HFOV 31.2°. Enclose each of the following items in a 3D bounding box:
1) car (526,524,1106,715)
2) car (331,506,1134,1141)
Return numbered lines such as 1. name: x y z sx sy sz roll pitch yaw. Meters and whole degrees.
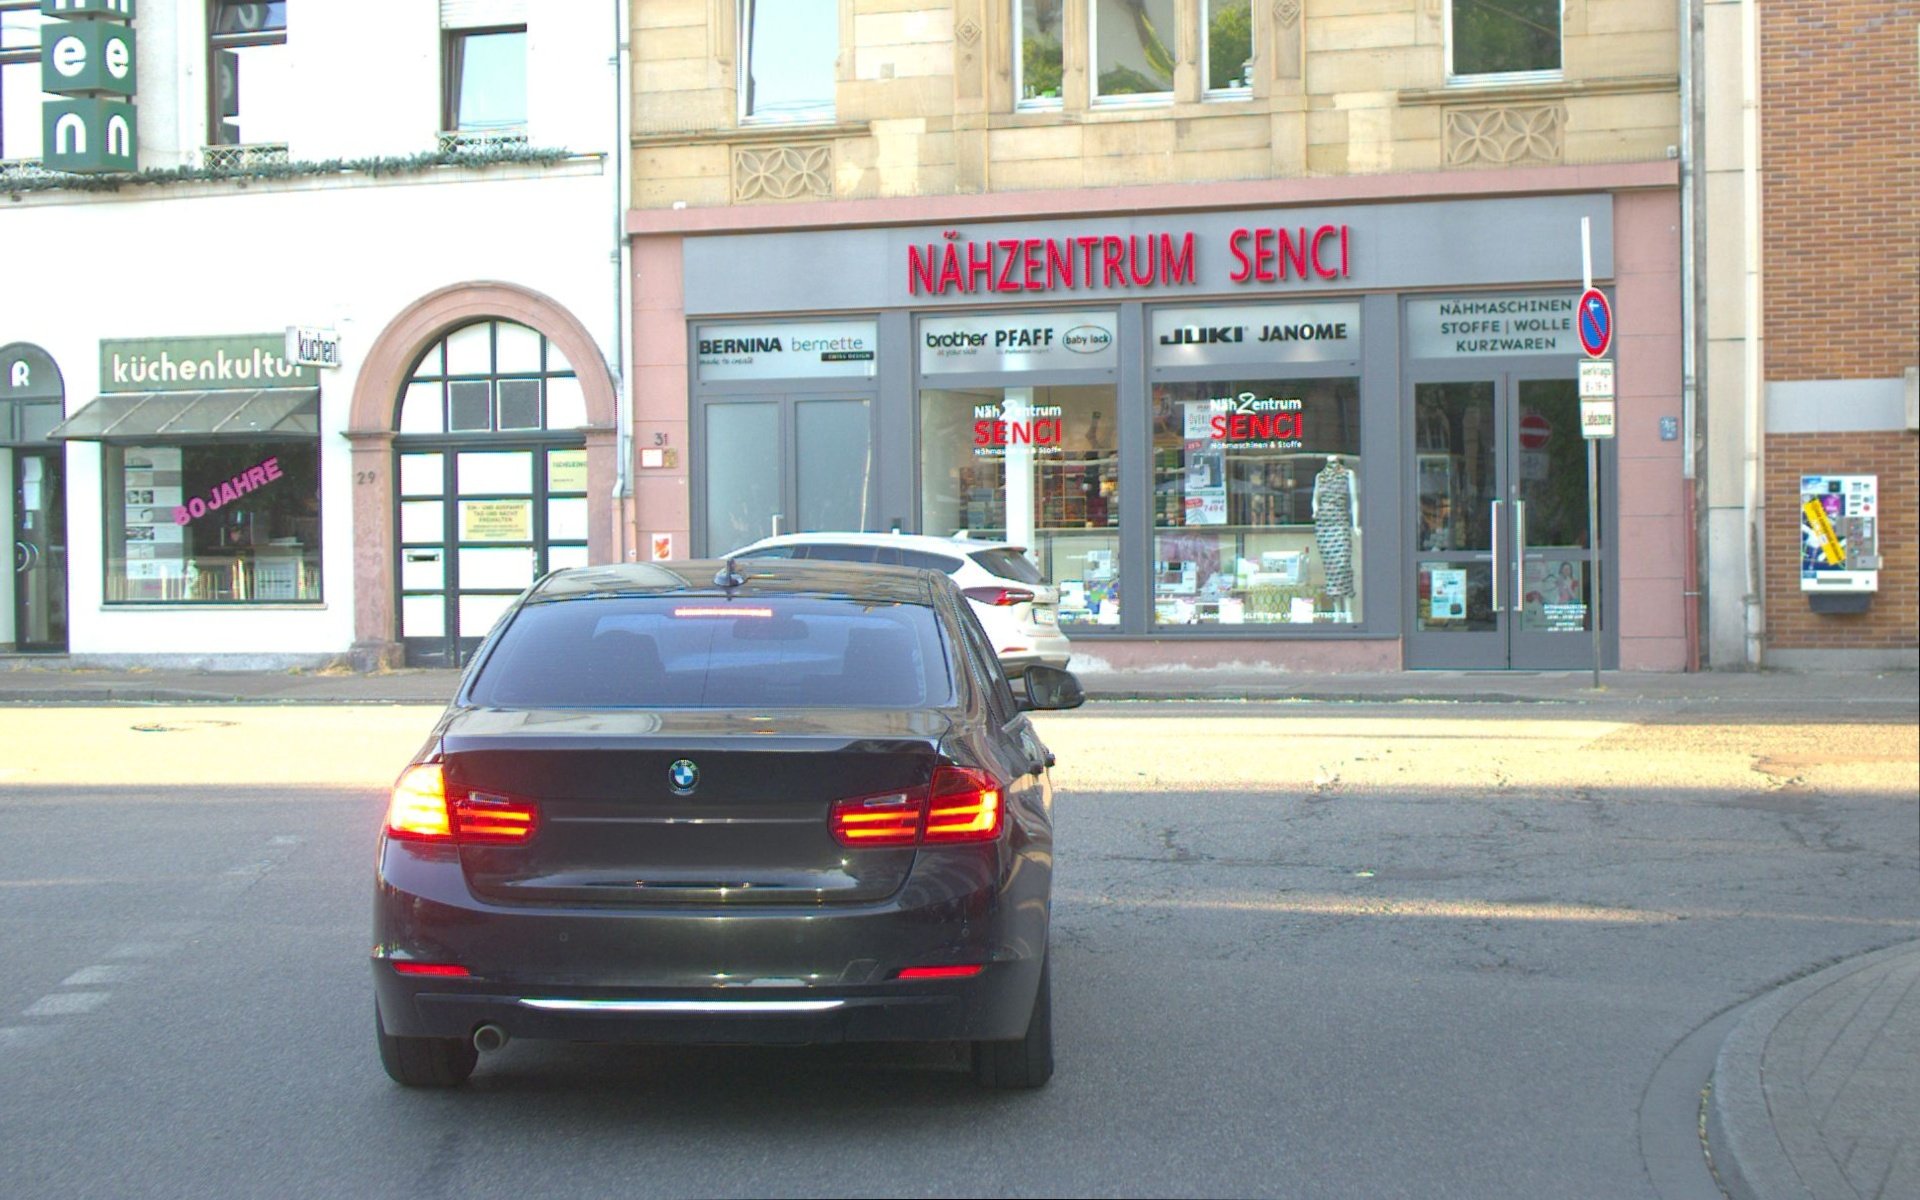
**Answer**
1. car: -1.252 0.127 30.214 4.671 1.530 1.998 1 1 19
2. car: -0.595 0.513 10.248 1.888 1.487 4.205 0 0 -2
